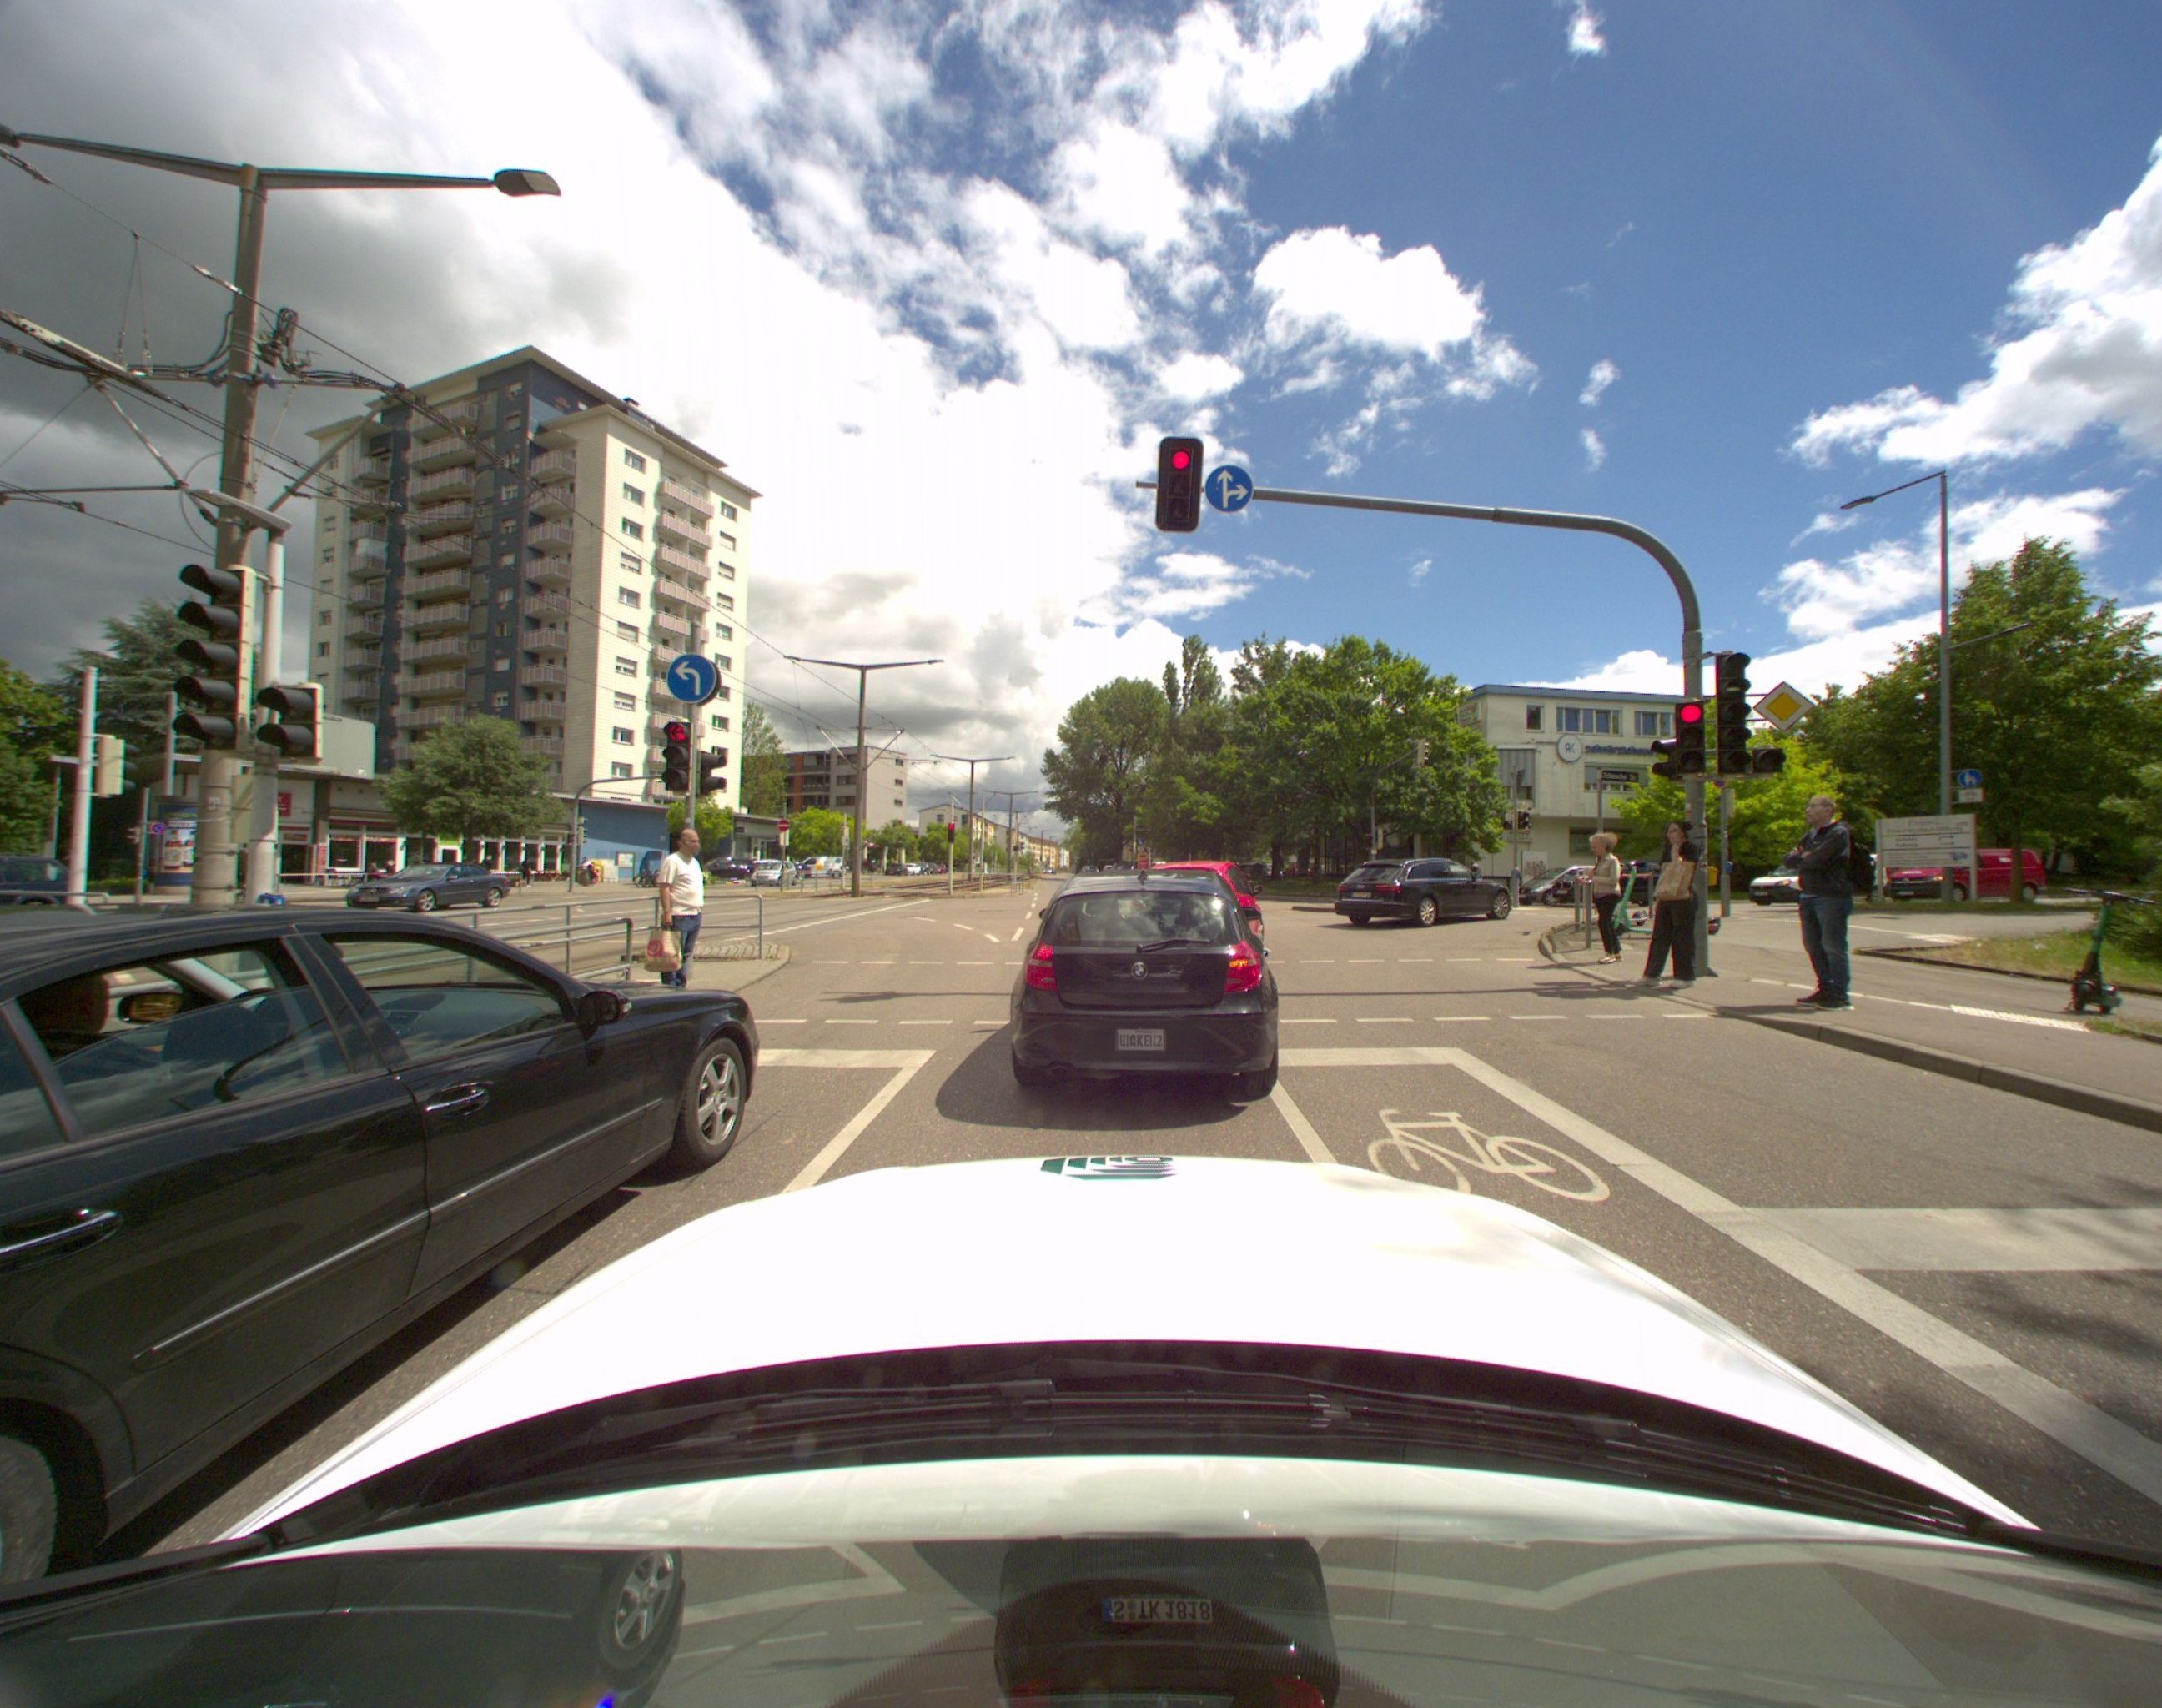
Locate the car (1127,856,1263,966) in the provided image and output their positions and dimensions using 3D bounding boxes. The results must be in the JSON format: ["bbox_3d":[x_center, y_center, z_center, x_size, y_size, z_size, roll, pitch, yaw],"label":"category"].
[{"bbox_3d":[1.860,0.762,12.509,1.529,1.441,3.211,0,0,18],"label":"car"}]

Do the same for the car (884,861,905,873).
[{"bbox_3d":[-21.558,1.487,94.165,1.758,1.395,3.993,0,0,-5],"label":"car"}]

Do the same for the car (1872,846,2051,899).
[{"bbox_3d":[31.930,0.672,29.617,4.800,1.864,1.995,0,-2,-8],"label":"car"}]

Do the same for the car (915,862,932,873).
[{"bbox_3d":[-20.960,1.811,108.209,1.758,1.395,3.993,0,0,-5],"label":"car"}]

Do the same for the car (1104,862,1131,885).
[{"bbox_3d":[2.734,1.444,61.755,1.986,1.684,4.001,0,-1,2],"label":"car"}]

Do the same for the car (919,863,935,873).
[{"bbox_3d":[-21.303,1.911,112.865,1.758,1.395,3.993,0,0,-5],"label":"car"}]

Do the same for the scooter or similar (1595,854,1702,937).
[{"bbox_3d":[8.978,0.645,12.920,1.336,1.277,0.463,0,1,8],"label":"scooter or similar"}]

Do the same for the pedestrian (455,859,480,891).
[{"bbox_3d":[-31.283,1.067,41.530,0.768,1.615,0.695,0,-1,-13],"label":"pedestrian"}]

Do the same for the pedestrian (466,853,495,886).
[{"bbox_3d":[-35.767,0.901,48.544,0.863,1.917,1.213,0,0,-3],"label":"pedestrian"}]

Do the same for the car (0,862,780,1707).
[{"bbox_3d":[-2.704,0.769,2.503,1.721,1.461,4.546,0,0,2],"label":"car"}]

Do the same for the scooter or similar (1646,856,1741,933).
[{"bbox_3d":[10.367,0.681,13.791,1.225,1.240,0.555,2,0,-7],"label":"scooter or similar"}]

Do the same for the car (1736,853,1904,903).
[{"bbox_3d":[26.287,0.823,29.053,4.555,1.717,1.995,0,0,-8],"label":"car"}]

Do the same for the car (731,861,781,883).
[{"bbox_3d":[-24.533,1.357,61.428,4.165,1.570,1.973,0,0,45],"label":"car"}]

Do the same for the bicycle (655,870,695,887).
[{"bbox_3d":[-23.117,1.397,46.375,1.943,0.935,0.494,0,-1,-5],"label":"bicycle"}]

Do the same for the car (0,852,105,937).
[{"bbox_3d":[-18.965,0.702,13.034,1.625,1.414,4.250,-1,1,-2],"label":"car"}]

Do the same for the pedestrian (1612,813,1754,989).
[{"bbox_3d":[6.399,0.471,8.688,0.933,1.765,0.770,-1,0,-10],"label":"pedestrian"}]

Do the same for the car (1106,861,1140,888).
[{"bbox_3d":[2.774,1.351,54.301,2.144,1.684,4.001,0,-1,2],"label":"car"}]

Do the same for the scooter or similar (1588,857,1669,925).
[{"bbox_3d":[9.886,0.661,14.706,1.360,1.156,0.540,1,0,-23],"label":"scooter or similar"}]

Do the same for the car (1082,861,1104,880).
[{"bbox_3d":[1.188,1.560,77.254,1.986,1.684,4.002,0,0,2],"label":"car"}]

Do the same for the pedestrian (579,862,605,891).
[{"bbox_3d":[-27.976,1.272,46.622,0.944,1.659,1.096,-1,-1,-9],"label":"pedestrian"}]

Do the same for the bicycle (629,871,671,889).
[{"bbox_3d":[-23.157,1.375,43.791,1.943,0.935,0.494,0,-1,-5],"label":"bicycle"}]

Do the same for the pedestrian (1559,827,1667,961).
[{"bbox_3d":[6.991,0.514,10.757,0.945,1.674,0.874,-1,-1,17],"label":"pedestrian"}]

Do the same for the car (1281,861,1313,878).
[{"bbox_3d":[20.947,1.515,79.029,1.728,1.595,3.992,0,0,-5],"label":"car"}]

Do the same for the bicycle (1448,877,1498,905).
[{"bbox_3d":[12.436,1.163,25.883,0.788,0.819,1.808,0,0,2],"label":"bicycle"}]

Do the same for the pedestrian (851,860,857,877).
[{"bbox_3d":[-23.175,1.470,83.122,0.547,1.716,0.667,0,-1,-8],"label":"pedestrian"}]

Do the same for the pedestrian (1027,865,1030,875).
[{"bbox_3d":[-8.532,2.586,131.437,0.477,1.637,0.454,0,-1,1],"label":"pedestrian"}]

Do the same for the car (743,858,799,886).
[{"bbox_3d":[-19.476,1.117,51.367,1.930,1.693,3.874,0,0,2],"label":"car"}]

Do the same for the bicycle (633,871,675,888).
[{"bbox_3d":[-23.192,1.380,44.264,1.943,0.935,0.494,0,-1,-5],"label":"bicycle"}]

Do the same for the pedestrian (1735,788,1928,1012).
[{"bbox_3d":[6.898,0.398,7.541,0.963,1.942,0.896,0,0,-3],"label":"pedestrian"}]

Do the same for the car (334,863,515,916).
[{"bbox_3d":[-18.915,0.968,23.775,1.630,1.399,4.492,0,-1,-1],"label":"car"}]

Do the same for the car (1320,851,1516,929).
[{"bbox_3d":[7.652,0.721,18.344,4.540,1.554,1.978,0,-1,-35],"label":"car"}]

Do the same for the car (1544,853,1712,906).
[{"bbox_3d":[18.630,0.846,27.862,4.551,1.717,1.996,0,0,-5],"label":"car"}]

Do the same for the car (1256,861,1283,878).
[{"bbox_3d":[18.208,1.452,78.651,1.626,1.595,3.998,0,0,-1],"label":"car"}]

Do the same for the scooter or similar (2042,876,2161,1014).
[{"bbox_3d":[10.625,0.929,8.479,1.247,1.275,0.709,6,-1,-38],"label":"scooter or similar"}]

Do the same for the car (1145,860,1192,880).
[{"bbox_3d":[8.133,1.502,75.691,4.001,1.823,1.766,0,0,-21],"label":"car"}]

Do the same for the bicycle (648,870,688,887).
[{"bbox_3d":[-23.222,1.393,45.793,1.943,0.935,0.494,0,-1,-5],"label":"bicycle"}]

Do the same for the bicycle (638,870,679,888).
[{"bbox_3d":[-23.214,1.384,44.770,1.943,0.935,0.494,0,-1,-5],"label":"bicycle"}]

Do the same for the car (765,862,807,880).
[{"bbox_3d":[-24.527,1.376,67.667,1.800,1.420,4.166,0,0,-43],"label":"car"}]

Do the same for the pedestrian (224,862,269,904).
[{"bbox_3d":[-32.976,1.136,32.182,0.957,1.659,1.002,-1,-1,28],"label":"pedestrian"}]

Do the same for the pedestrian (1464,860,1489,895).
[{"bbox_3d":[18.866,1.111,38.868,0.766,1.643,0.906,0,0,-2],"label":"pedestrian"}]

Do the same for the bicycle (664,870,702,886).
[{"bbox_3d":[-23.163,1.407,47.393,1.943,0.935,0.494,0,-1,-5],"label":"bicycle"}]

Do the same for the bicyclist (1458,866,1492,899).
[{"bbox_3d":[12.434,0.889,25.692,0.788,1.022,0.636,0,-1,1],"label":"bicyclist"}]

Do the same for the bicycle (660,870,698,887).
[{"bbox_3d":[-23.139,1.402,46.892,1.943,0.935,0.494,0,-1,-5],"label":"bicycle"}]

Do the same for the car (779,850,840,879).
[{"bbox_3d":[-24.329,0.916,72.730,2.848,2.478,6.642,0,0,-41],"label":"car"}]

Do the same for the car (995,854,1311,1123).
[{"bbox_3d":[0.469,0.741,6.511,1.746,1.487,4.002,0,0,2],"label":"car"}]

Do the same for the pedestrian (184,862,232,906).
[{"bbox_3d":[-33.416,1.131,31.178,0.957,1.659,1.002,-1,-1,28],"label":"pedestrian"}]

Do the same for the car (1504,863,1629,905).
[{"bbox_3d":[19.099,1.167,32.115,3.906,1.555,1.994,0,0,-9],"label":"car"}]

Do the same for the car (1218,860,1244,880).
[{"bbox_3d":[14.057,1.509,76.537,1.626,1.811,4.030,0,0,-1],"label":"car"}]

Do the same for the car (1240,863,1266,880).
[{"bbox_3d":[16.297,1.633,77.353,1.626,1.573,4.030,0,0,-1],"label":"car"}]

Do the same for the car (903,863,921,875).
[{"bbox_3d":[-21.062,1.846,101.710,1.758,1.395,3.993,0,0,-5],"label":"car"}]

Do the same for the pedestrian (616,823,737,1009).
[{"bbox_3d":[-4.112,0.603,8.336,0.866,1.808,0.741,0,0,-2],"label":"pedestrian"}]

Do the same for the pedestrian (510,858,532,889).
[{"bbox_3d":[-30.113,1.033,43.817,0.767,1.615,0.695,0,-1,-12],"label":"pedestrian"}]

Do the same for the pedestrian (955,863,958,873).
[{"bbox_3d":[-20.980,2.335,137.026,0.451,1.637,0.480,0,-1,-1],"label":"pedestrian"}]

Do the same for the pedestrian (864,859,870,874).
[{"bbox_3d":[-24.575,1.484,93.483,0.547,1.716,0.404,0,-1,-8],"label":"pedestrian"}]

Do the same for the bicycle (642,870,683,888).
[{"bbox_3d":[-23.237,1.388,45.247,1.943,0.935,0.494,0,-1,-5],"label":"bicycle"}]

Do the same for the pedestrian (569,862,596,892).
[{"bbox_3d":[-27.838,1.290,45.484,0.944,1.659,1.096,-1,-1,-9],"label":"pedestrian"}]
